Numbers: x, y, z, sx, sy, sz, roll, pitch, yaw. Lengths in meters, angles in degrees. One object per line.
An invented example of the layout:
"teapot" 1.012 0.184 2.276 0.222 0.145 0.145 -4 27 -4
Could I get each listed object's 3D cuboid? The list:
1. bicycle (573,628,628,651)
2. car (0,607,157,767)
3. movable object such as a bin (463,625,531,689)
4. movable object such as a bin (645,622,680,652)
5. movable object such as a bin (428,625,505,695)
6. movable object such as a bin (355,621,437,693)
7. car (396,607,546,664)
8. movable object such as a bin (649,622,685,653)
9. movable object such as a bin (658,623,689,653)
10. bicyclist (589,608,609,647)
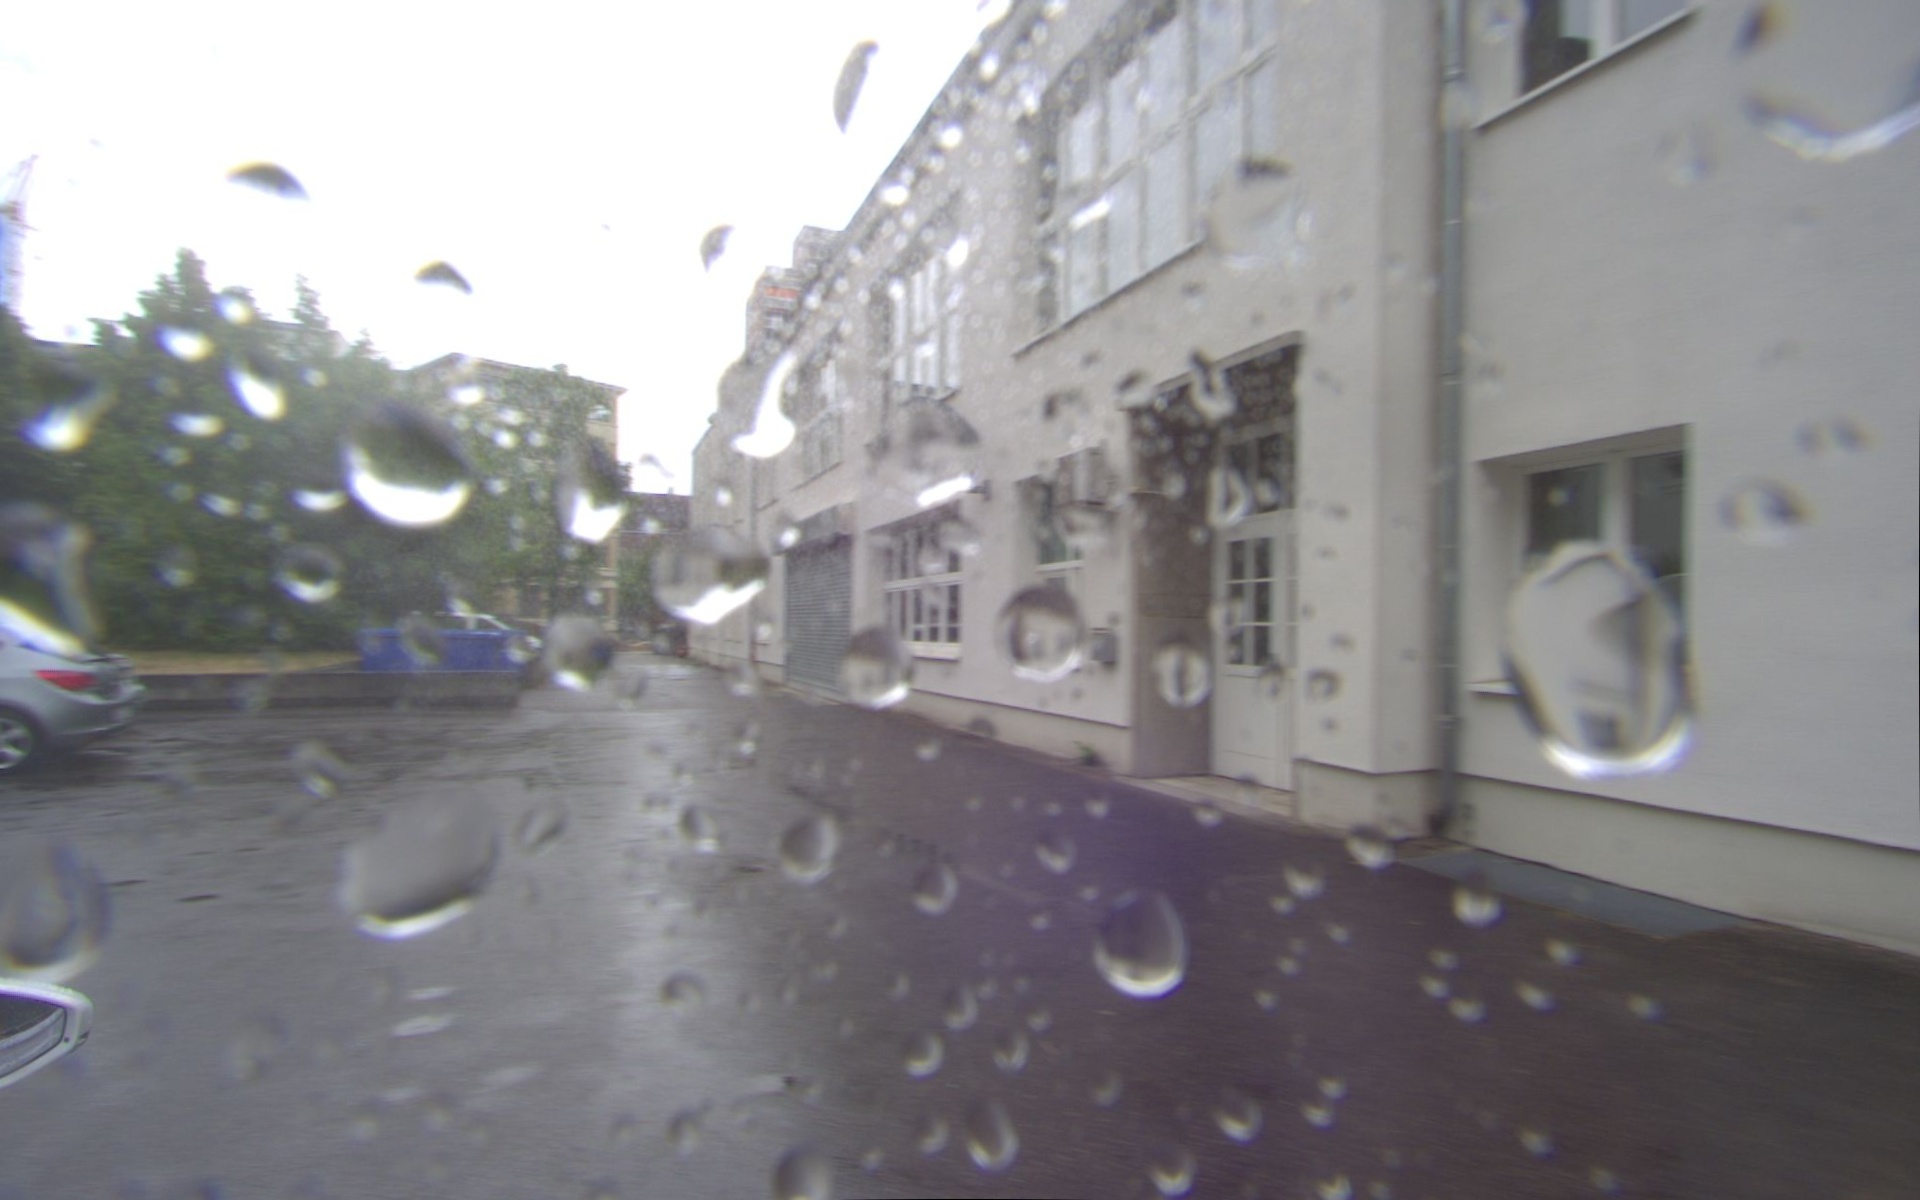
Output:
"bicycle" -19.012 2.083 53.016 0.728 1.201 2.720 0 -1 39
"car" -10.711 0.818 9.729 4.156 1.508 1.993 1 -2 -26
"movable object such as a bin" -10.486 1.296 22.770 1.292 1.375 1.901 0 -3 -22
"movable object such as a bin" -14.858 1.858 50.066 1.470 1.466 1.309 0 -3 -27
"movable object such as a bin" -10.211 1.235 20.798 1.292 1.375 1.901 0 -3 -22
"movable object such as a bin" -11.402 1.143 20.324 1.213 1.375 1.966 0 -3 -22
"car" -17.435 1.296 35.995 4.618 1.904 2.120 0 -4 -20
"movable object such as a bin" -14.278 1.817 48.854 1.470 1.466 1.309 0 -3 -27
"movable object such as a bin" -13.561 1.803 47.428 1.170 1.391 1.309 0 -3 -27
"bicyclist" -19.081 1.470 52.915 0.737 2.040 0.704 1 0 39
